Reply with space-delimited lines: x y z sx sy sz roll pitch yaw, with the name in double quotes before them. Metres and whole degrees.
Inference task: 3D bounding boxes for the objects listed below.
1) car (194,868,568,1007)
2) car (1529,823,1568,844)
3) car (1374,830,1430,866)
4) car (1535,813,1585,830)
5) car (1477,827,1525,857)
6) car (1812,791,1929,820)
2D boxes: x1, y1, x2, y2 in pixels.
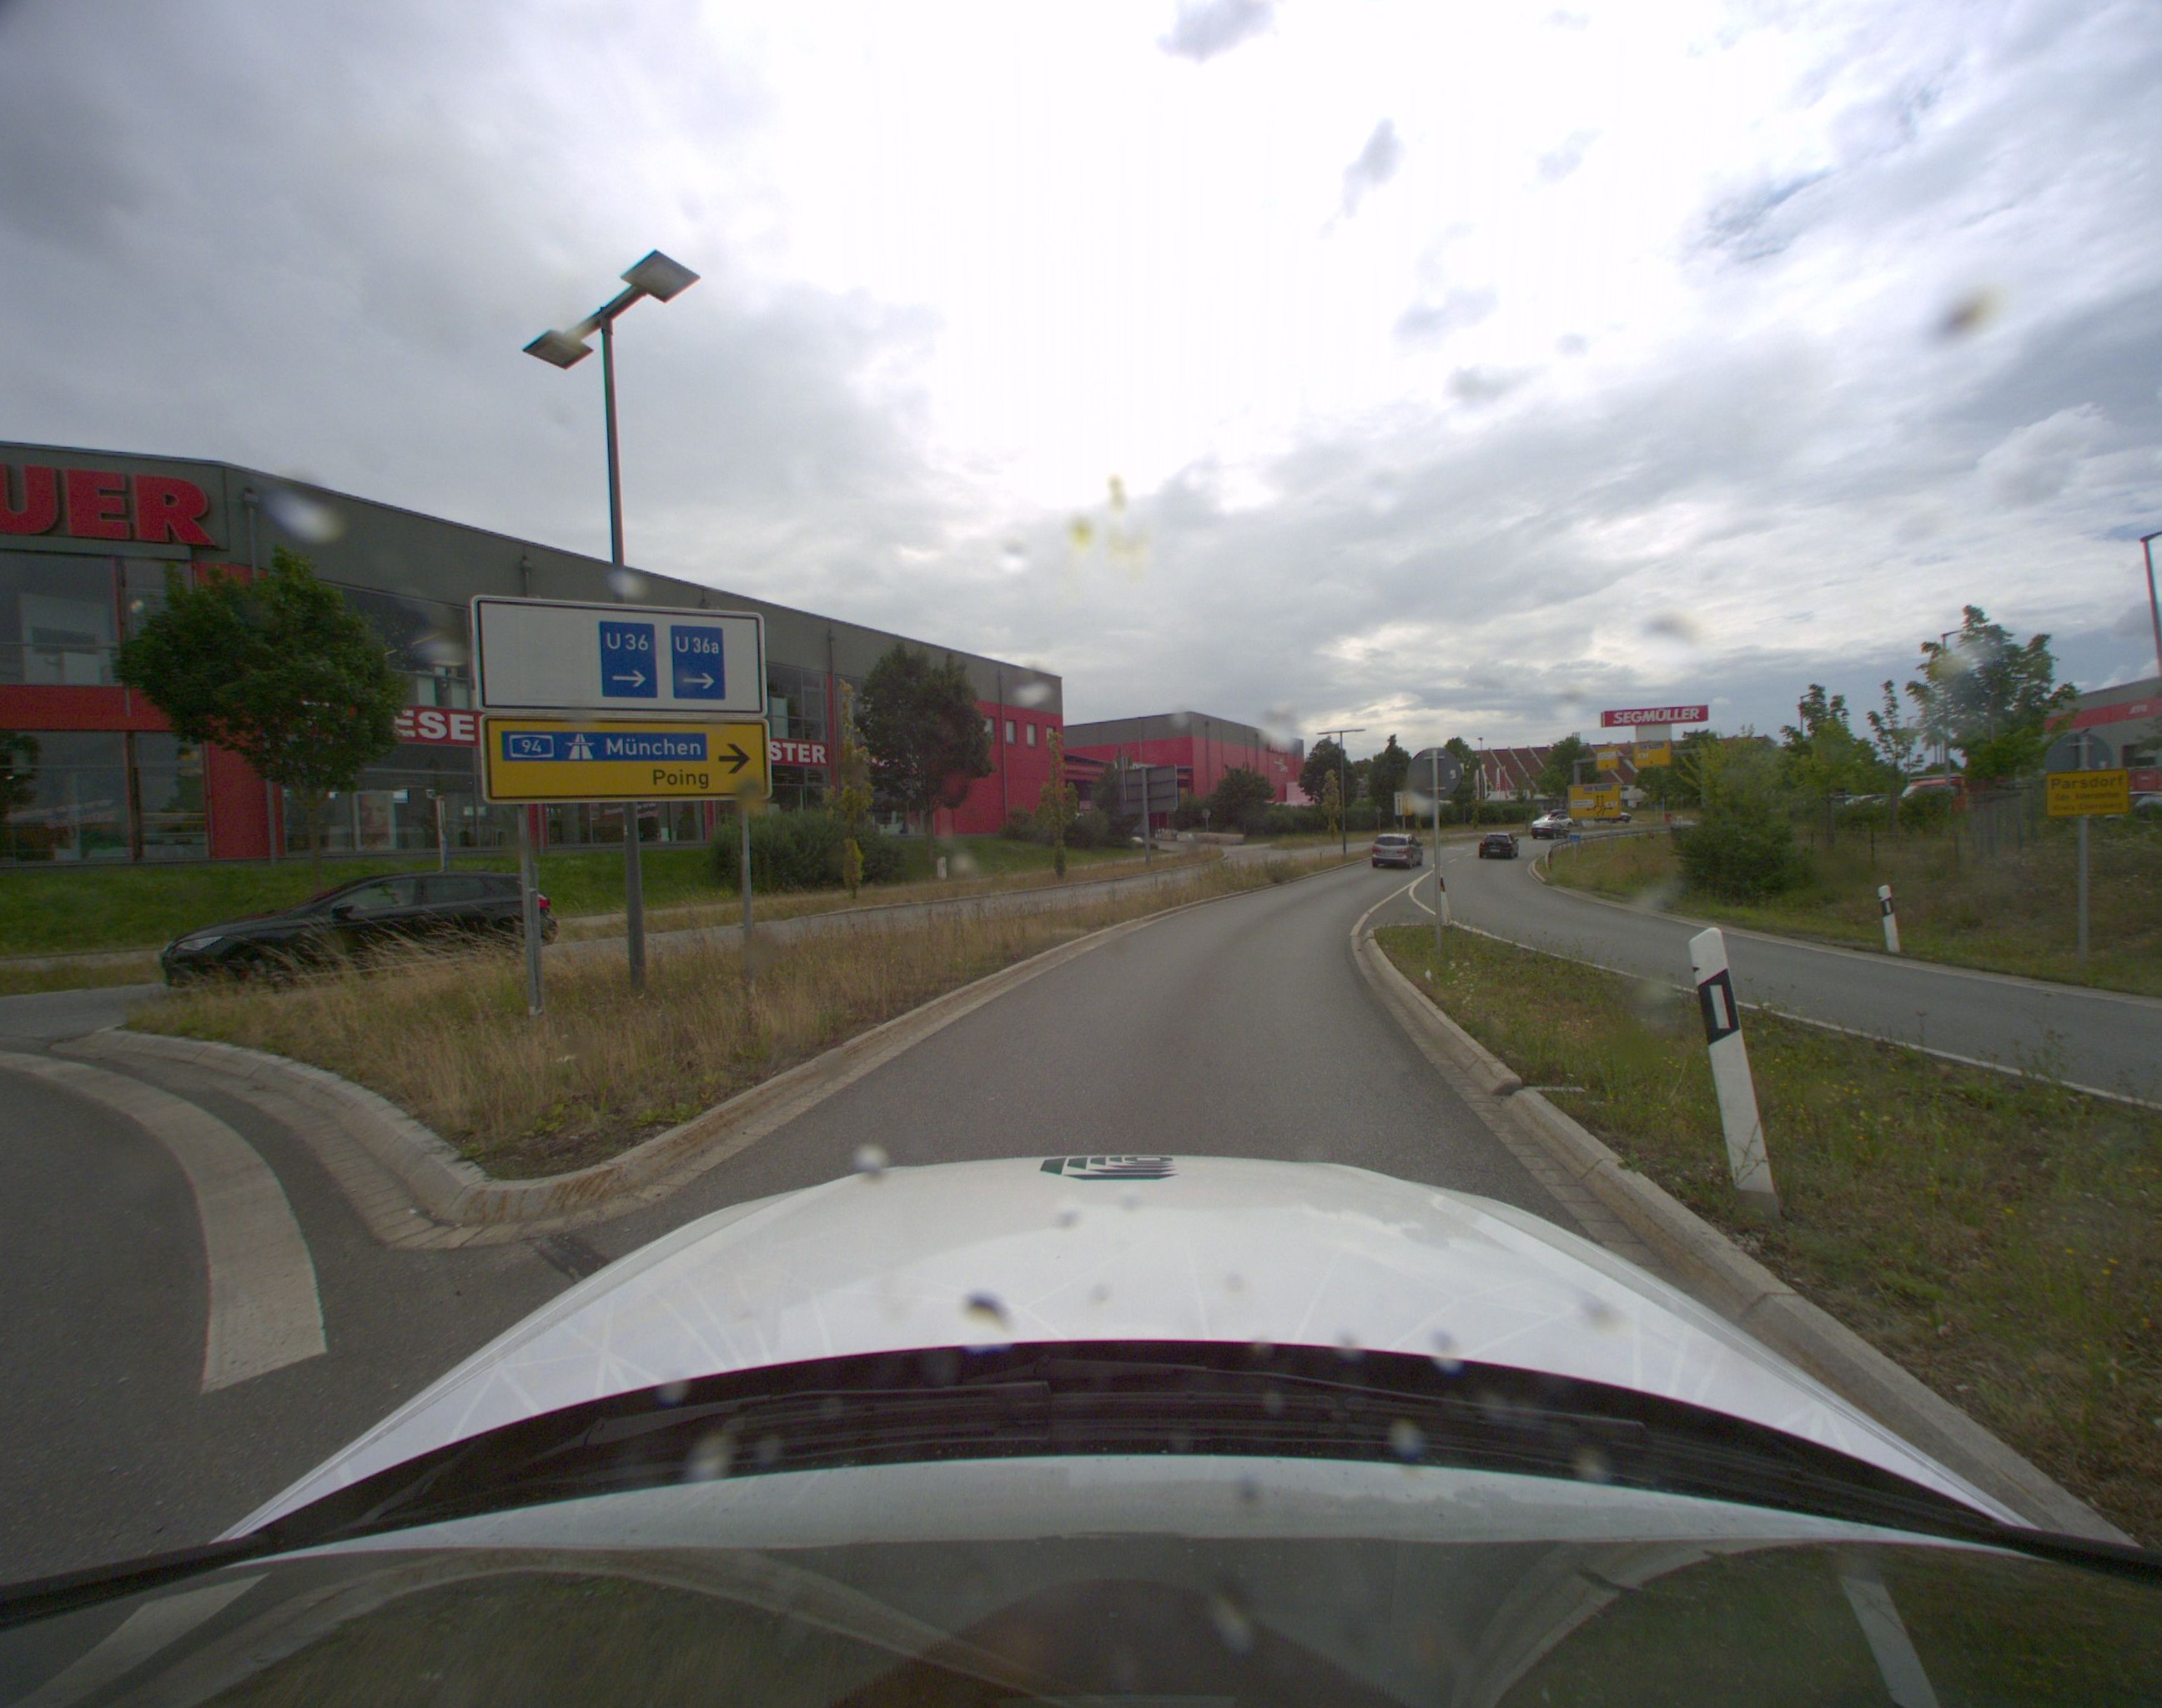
"car" -9.685 1.008 11.512 1.624 1.459 3.791 -1 1 41
"car" 38.309 -1.666 66.713 1.888 1.618 4.024 -1 1 43
"car" 15.354 -0.313 38.886 1.750 1.616 3.947 -1 1 32
"car" 47.618 -3.275 80.974 4.643 1.625 1.901 -2 5 -24
"car" 23.926 -0.710 46.338 1.851 1.605 3.759 0 1 36
"car" 43.175 -2.623 44.632 4.551 1.400 1.707 -1 1 6
